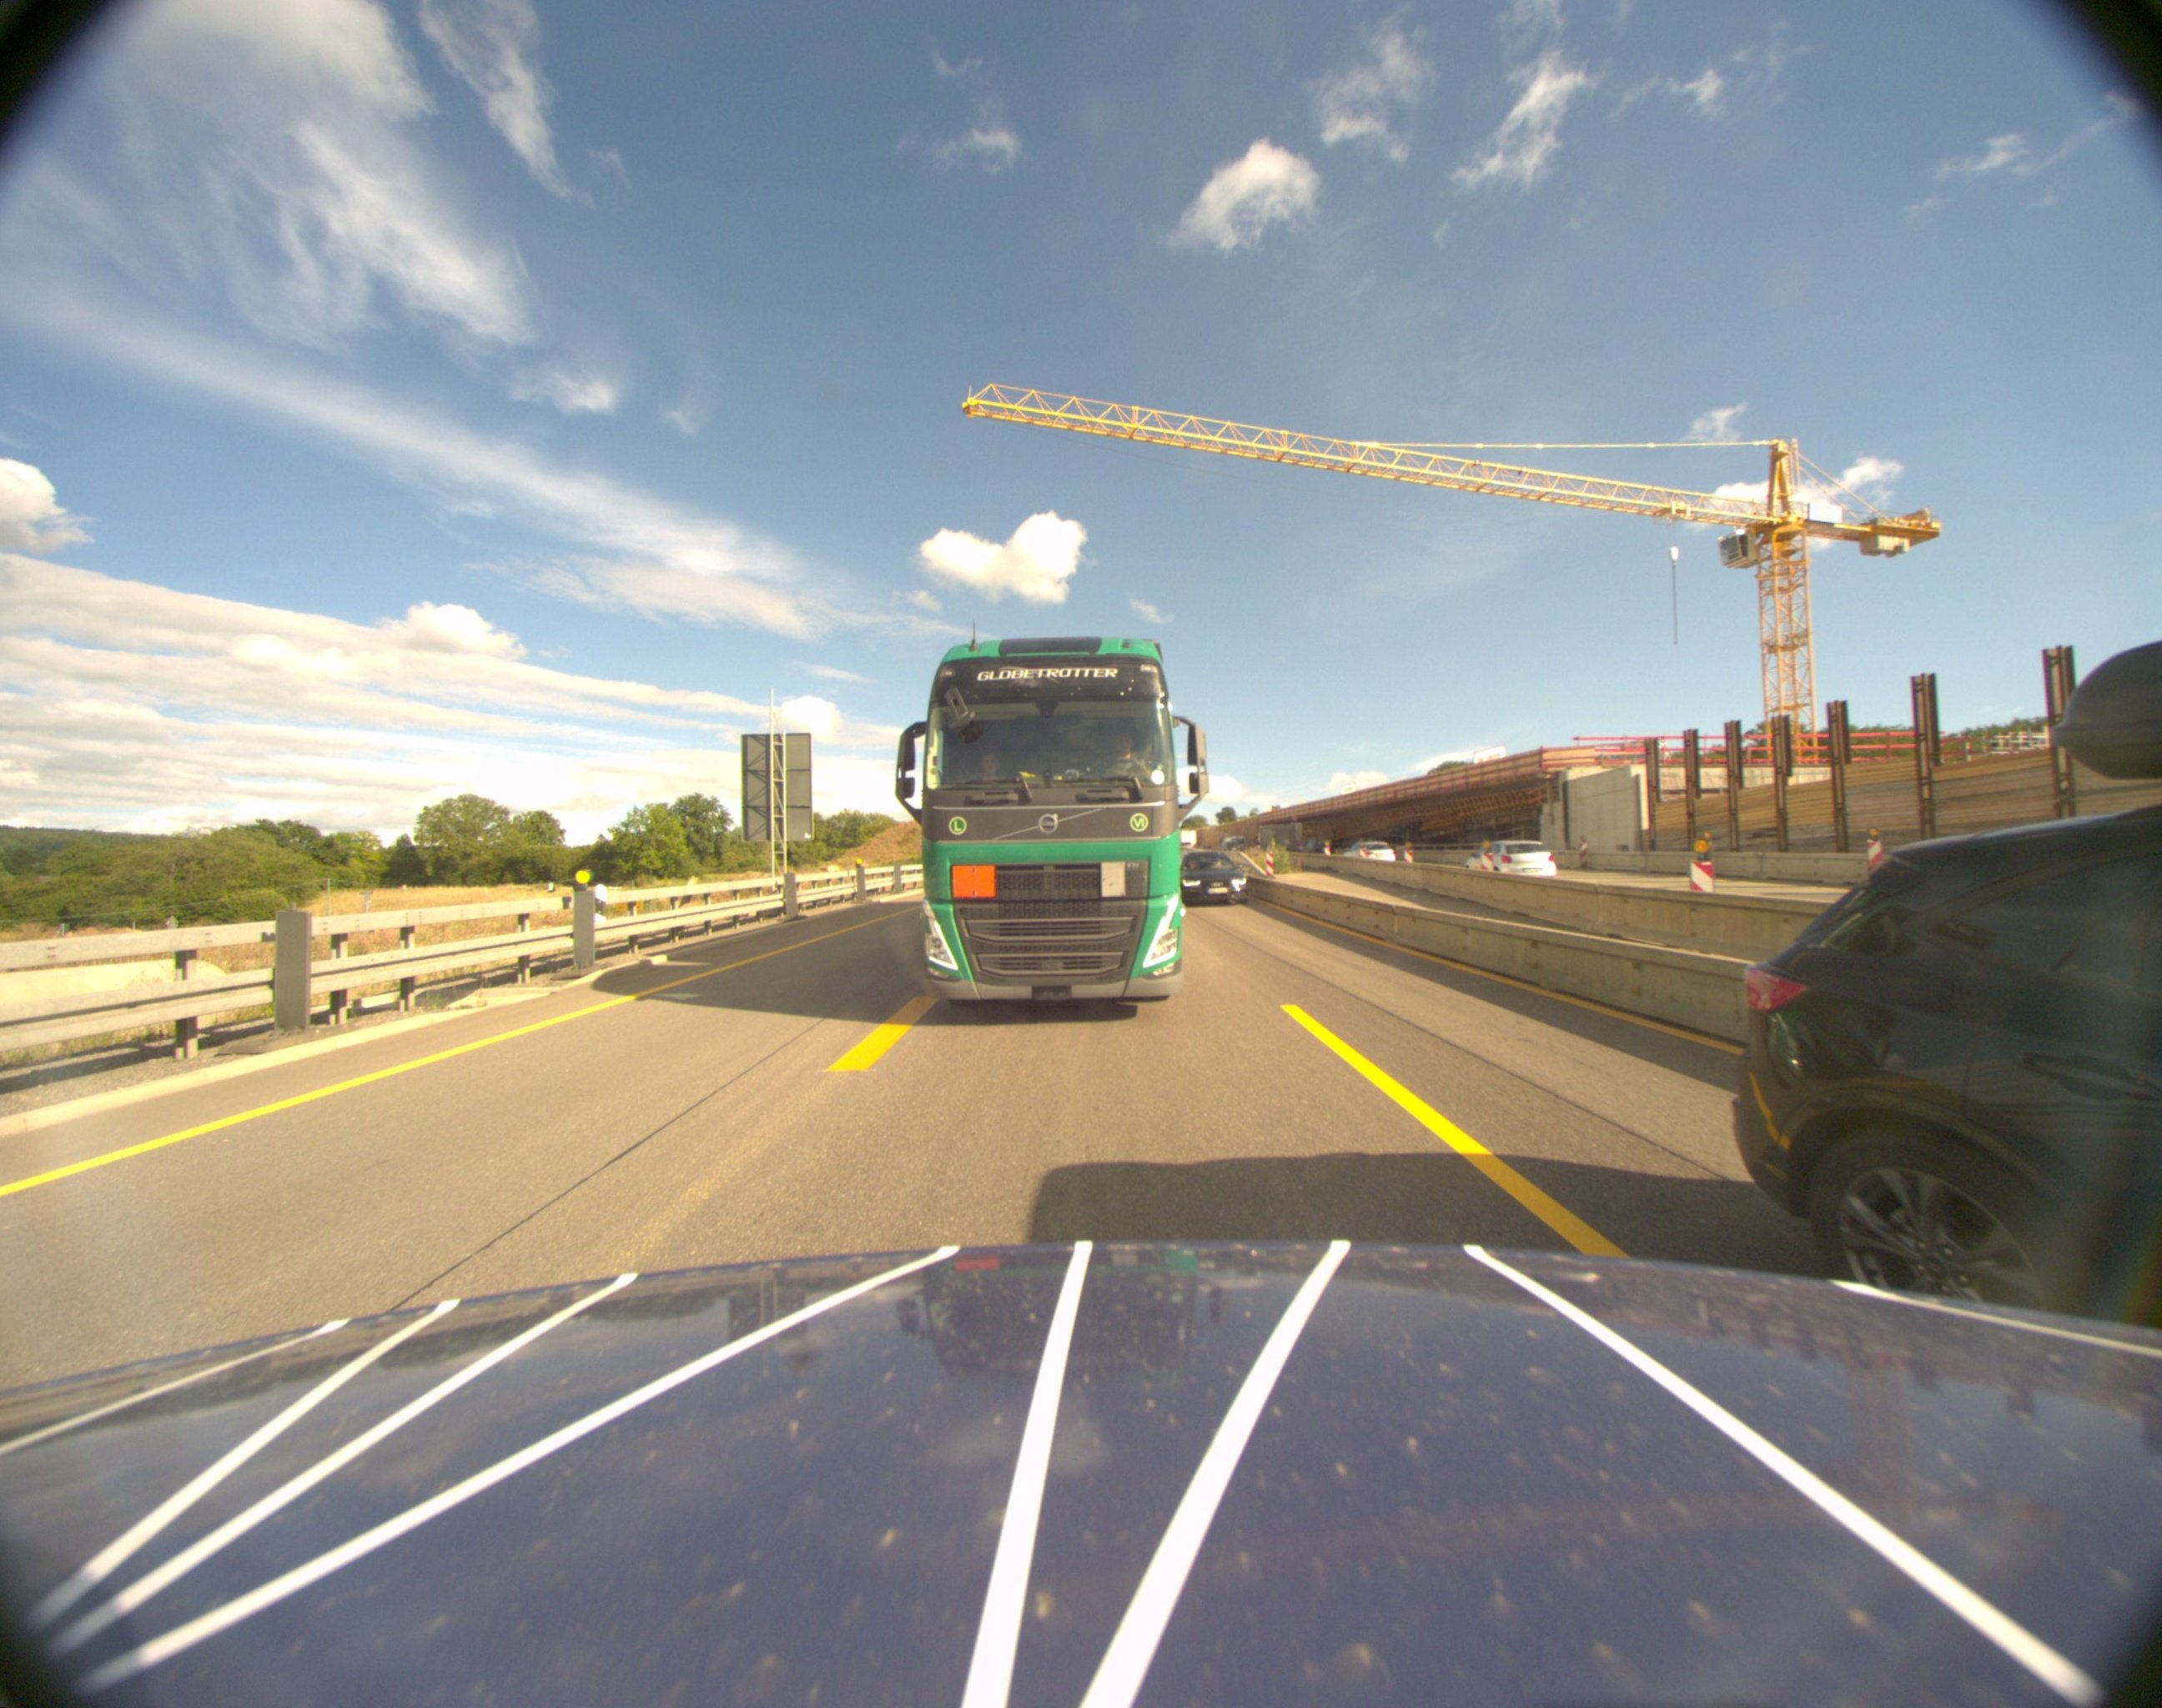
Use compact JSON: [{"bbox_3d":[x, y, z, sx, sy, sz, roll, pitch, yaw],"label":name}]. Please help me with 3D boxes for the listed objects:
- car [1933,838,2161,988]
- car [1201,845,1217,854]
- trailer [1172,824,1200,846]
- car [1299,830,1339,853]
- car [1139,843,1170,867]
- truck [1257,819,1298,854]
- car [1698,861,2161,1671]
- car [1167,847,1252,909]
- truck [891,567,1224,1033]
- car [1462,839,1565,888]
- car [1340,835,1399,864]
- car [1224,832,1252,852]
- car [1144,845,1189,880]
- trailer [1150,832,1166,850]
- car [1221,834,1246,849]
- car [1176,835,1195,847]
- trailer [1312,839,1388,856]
[{"bbox_3d":[11.606,0.576,7.556,1.824,1.431,4.618,-2,0,13],"label":"car"},{"bbox_3d":[19.656,-0.754,116.739,1.924,1.265,3.999,-2,2,2],"label":"car"},{"bbox_3d":[19.131,-3.520,139.141,2.828,3.820,13.798,-2,2,-1],"label":"trailer"},{"bbox_3d":[19.613,-1.074,62.775,1.998,1.794,4.444,-2,2,2],"label":"car"},{"bbox_3d":[5.216,0.019,54.525,1.806,1.555,4.561,-2,2,1],"label":"car"},{"bbox_3d":[20.106,-1.842,78.203,2.706,3.293,7.537,-2,2,5],"label":"truck"},{"bbox_3d":[2.992,0.828,0.406,1.804,1.533,4.384,-1,1,1],"label":"car"},{"bbox_3d":[3.604,0.593,22.014,1.806,1.448,4.660,-2,2,2],"label":"car"},{"bbox_3d":[-0.179,-0.426,11.578,2.663,3.824,10.317,-2,0,0],"label":"truck"},{"bbox_3d":[14.168,0.277,25.135,1.757,1.431,3.807,-2,0,11],"label":"car"},{"bbox_3d":[15.728,-0.240,41.643,1.856,1.431,4.560,-2,0,6],"label":"car"},{"bbox_3d":[19.992,-1.577,96.942,2.264,2.389,5.865,-2,2,1],"label":"car"},{"bbox_3d":[4.243,0.374,38.354,1.806,1.555,4.561,-2,2,1],"label":"car"},{"bbox_3d":[19.076,-3.361,188.172,2.694,4.132,13.808,-2,2,1],"label":"trailer"},{"bbox_3d":[16.994,-1.384,84.943,1.857,1.626,4.748,-2,0,1],"label":"car"},{"bbox_3d":[16.018,-1.976,116.630,2.131,1.755,5.030,-2,0,-1],"label":"car"},{"bbox_3d":[19.381,-0.500,55.438,2.357,0.934,10.327,-2,2,3],"label":"trailer"}]
